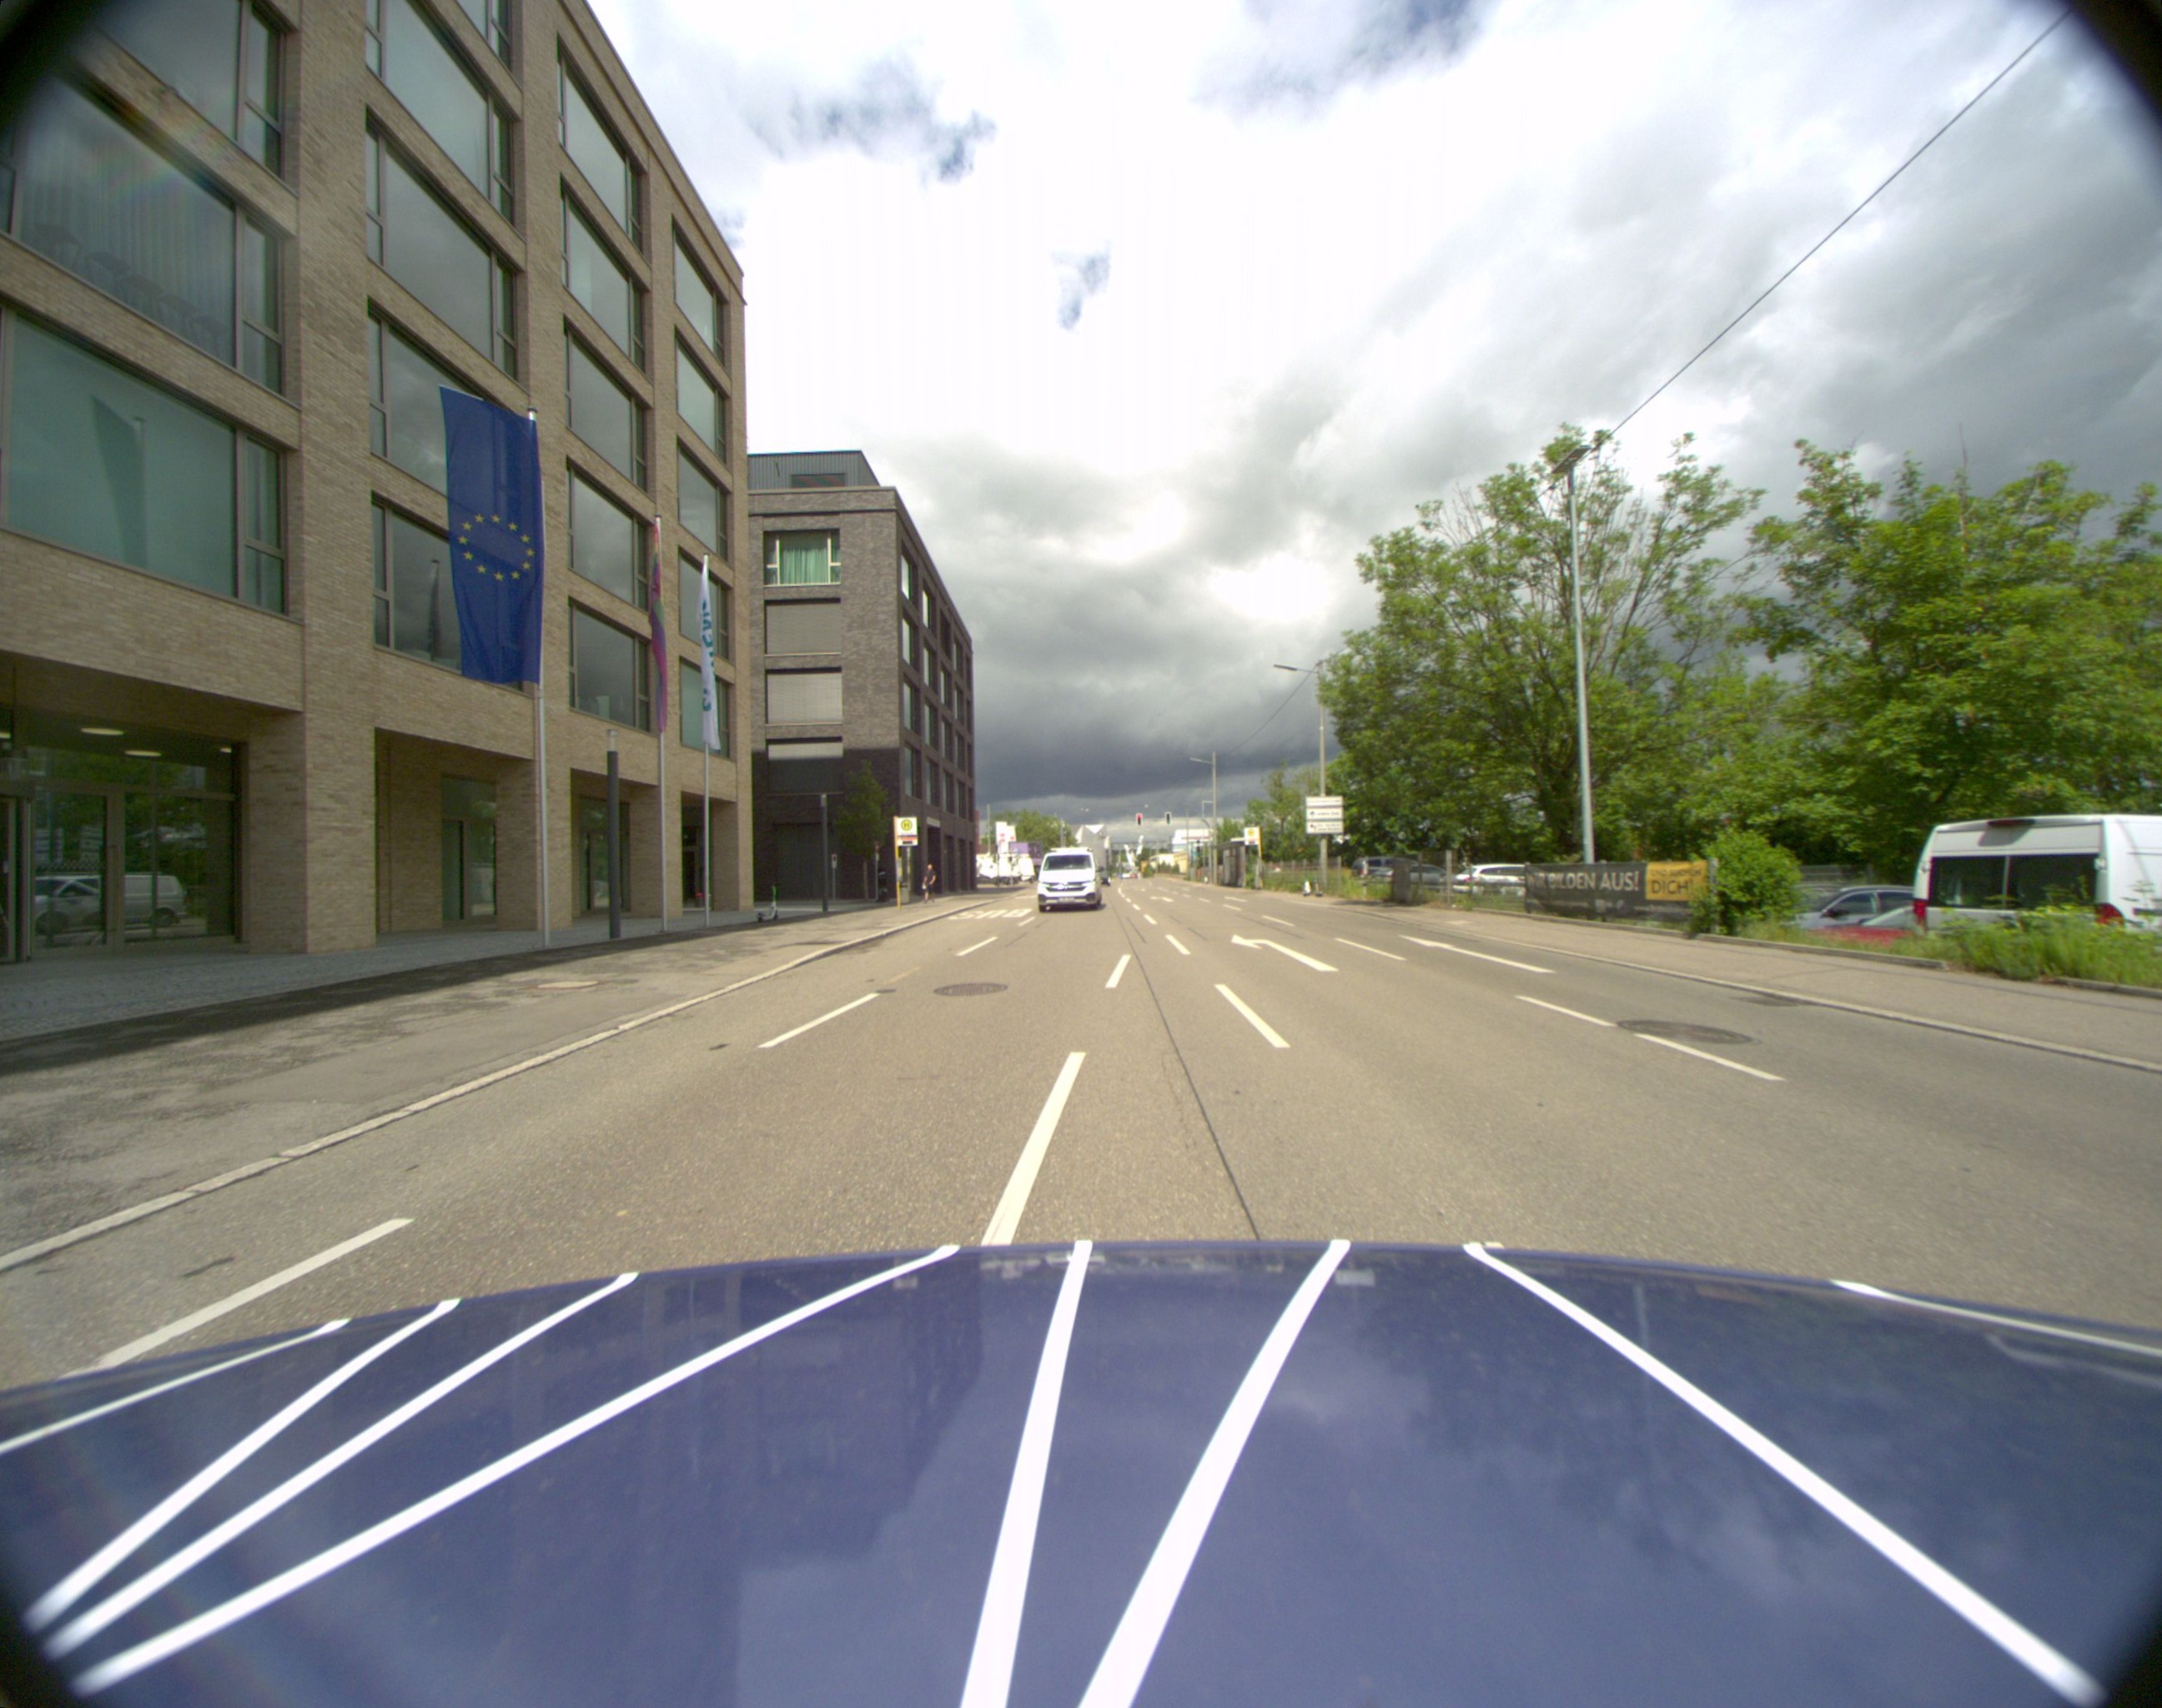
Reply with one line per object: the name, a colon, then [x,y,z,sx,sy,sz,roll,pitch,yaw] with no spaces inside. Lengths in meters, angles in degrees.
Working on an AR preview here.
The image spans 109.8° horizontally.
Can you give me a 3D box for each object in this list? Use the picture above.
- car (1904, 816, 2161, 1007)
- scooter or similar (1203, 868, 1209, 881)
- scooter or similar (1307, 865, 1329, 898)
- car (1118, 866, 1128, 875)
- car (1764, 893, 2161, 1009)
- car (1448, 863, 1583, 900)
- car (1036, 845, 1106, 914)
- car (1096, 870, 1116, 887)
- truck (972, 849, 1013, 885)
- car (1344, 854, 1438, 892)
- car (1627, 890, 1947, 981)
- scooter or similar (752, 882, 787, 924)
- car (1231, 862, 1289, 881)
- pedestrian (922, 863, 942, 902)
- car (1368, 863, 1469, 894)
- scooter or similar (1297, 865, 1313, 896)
car: [13.174,0.587,9.130,4.171,2.001,2.199,-1,-1,-1]
scooter or similar: [11.370,1.876,69.044,0.424,1.203,1.127,-3,-1,6]
scooter or similar: [9.554,1.088,30.702,0.536,1.258,1.472,-3,-1,7]
car: [8.857,3.545,160.213,1.870,1.781,4.209,-1,-1,1]
car: [13.146,1.381,11.429,4.043,1.378,1.928,-1,1,0]
car: [17.275,1.089,30.372,4.285,1.373,1.867,-1,0,6]
car: [-0.244,0.817,25.411,1.935,2.077,4.210,-1,-1,4]
car: [2.288,2.215,69.951,1.726,1.394,4.207,0,1,0]
truck: [-10.145,1.474,88.255,2.835,3.888,10.369,-1,-1,3]
car: [17.157,1.017,42.173,4.289,2.002,2.140,-1,0,-6]
car: [12.796,1.453,14.011,4.042,1.378,1.928,-1,1,3]
scooter or similar: [-9.222,1.433,22.554,0.428,1.146,1.404,-1,0,1]
car: [14.473,1.434,61.606,4.320,1.410,2.025,-1,-1,3]
pedestrian: [-6.852,1.303,34.984,0.685,1.717,0.962,-2,-1,1]
car: [17.146,1.212,38.711,4.289,1.478,1.909,-1,0,-7]
scooter or similar: [9.505,1.125,32.203,0.535,1.254,1.474,-3,-1,19]
